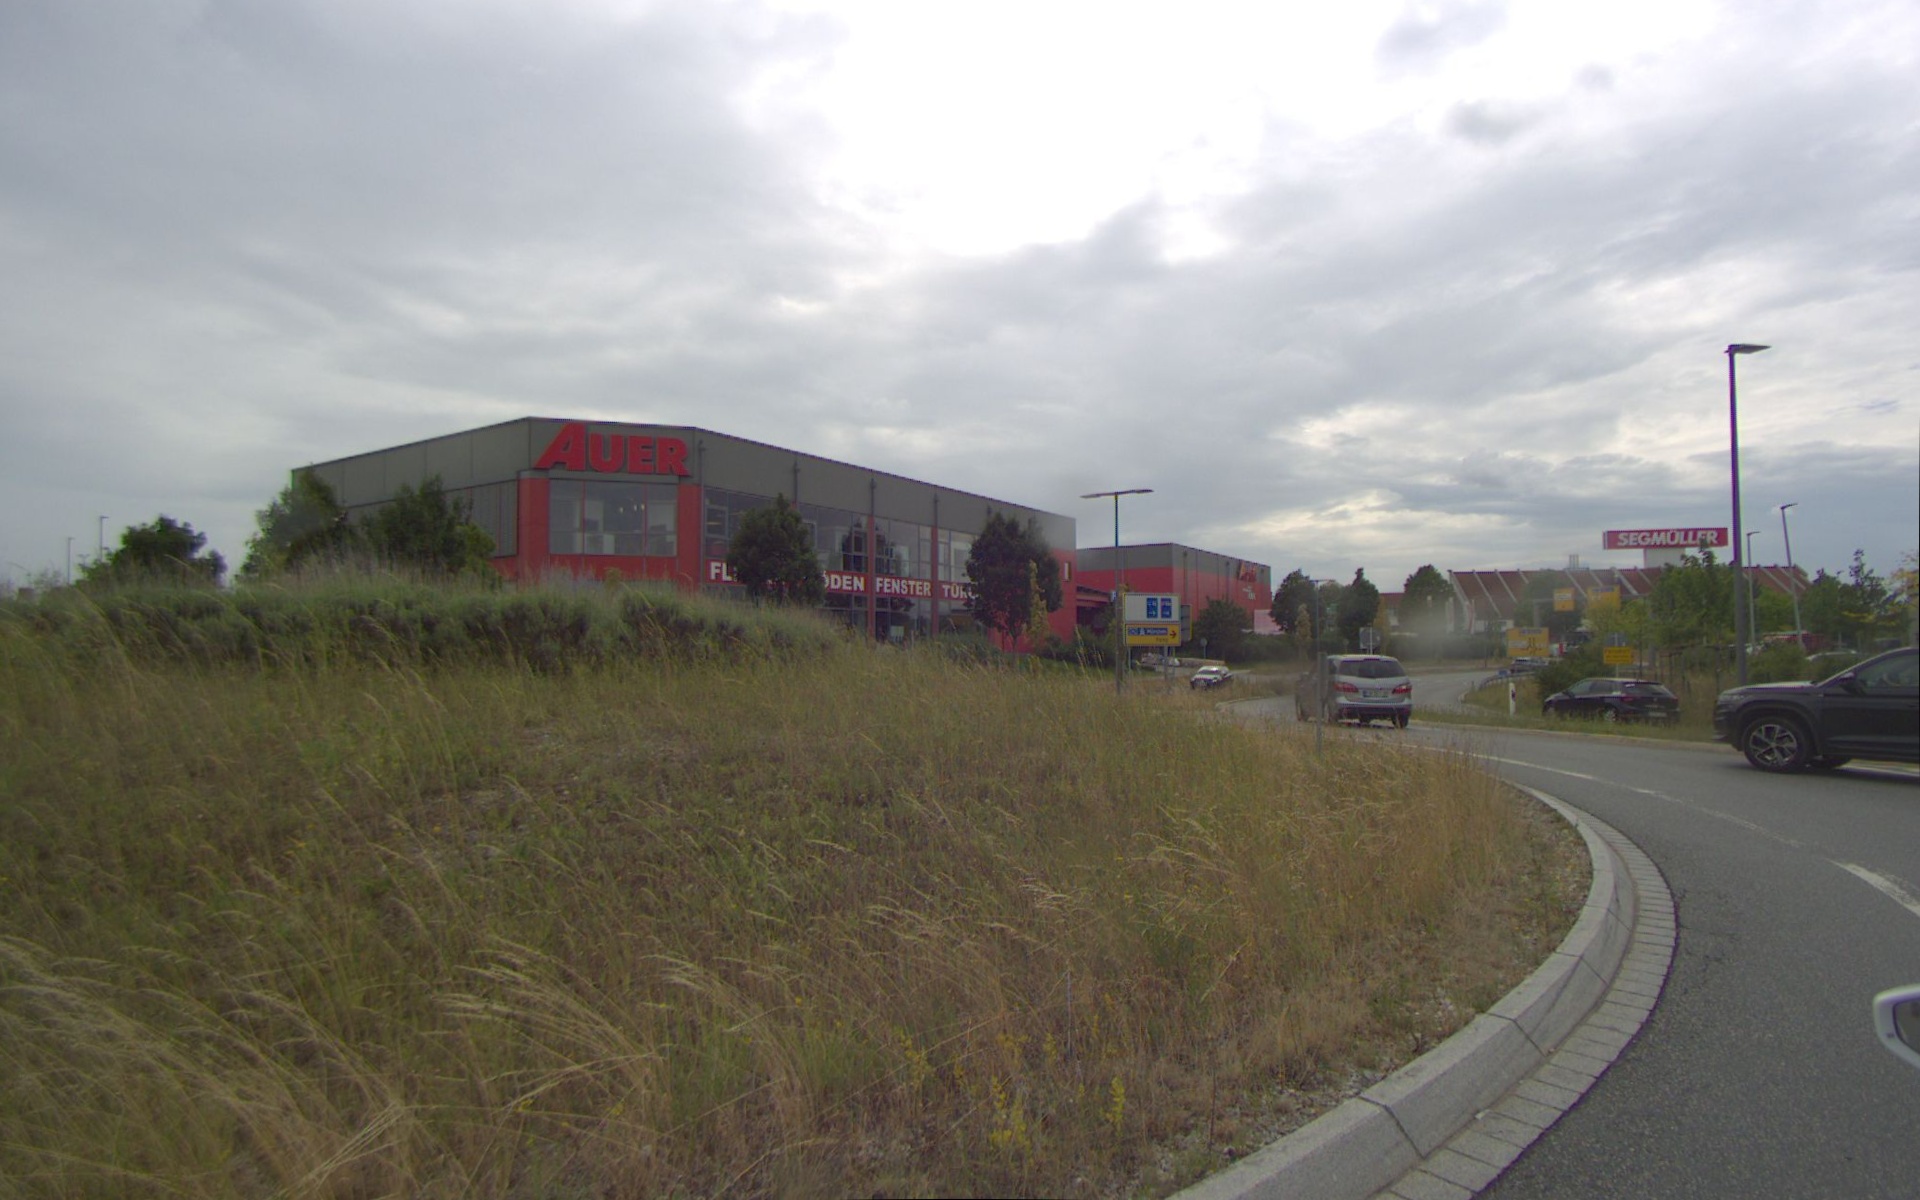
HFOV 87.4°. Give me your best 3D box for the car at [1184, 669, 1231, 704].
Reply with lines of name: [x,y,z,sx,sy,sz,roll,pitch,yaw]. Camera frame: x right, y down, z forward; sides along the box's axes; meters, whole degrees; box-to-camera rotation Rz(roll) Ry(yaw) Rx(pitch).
car: [14.185,4.904,57.362,1.651,1.795,3.949,-1,-2,29]

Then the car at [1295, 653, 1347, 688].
car: [18.352,3.547,50.962,1.878,1.639,3.994,-1,-2,29]

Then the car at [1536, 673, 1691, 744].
car: [18.361,3.007,28.435,1.838,1.626,3.735,-3,-2,0]

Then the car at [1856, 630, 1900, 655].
car: [73.515,3.404,80.482,1.676,1.834,3.963,-5,-5,31]

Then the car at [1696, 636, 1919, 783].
car: [11.868,1.292,12.050,1.797,1.692,4.576,2,-3,-32]

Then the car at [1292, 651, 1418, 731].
car: [9.069,2.046,23.390,1.737,1.638,3.924,0,-2,6]
